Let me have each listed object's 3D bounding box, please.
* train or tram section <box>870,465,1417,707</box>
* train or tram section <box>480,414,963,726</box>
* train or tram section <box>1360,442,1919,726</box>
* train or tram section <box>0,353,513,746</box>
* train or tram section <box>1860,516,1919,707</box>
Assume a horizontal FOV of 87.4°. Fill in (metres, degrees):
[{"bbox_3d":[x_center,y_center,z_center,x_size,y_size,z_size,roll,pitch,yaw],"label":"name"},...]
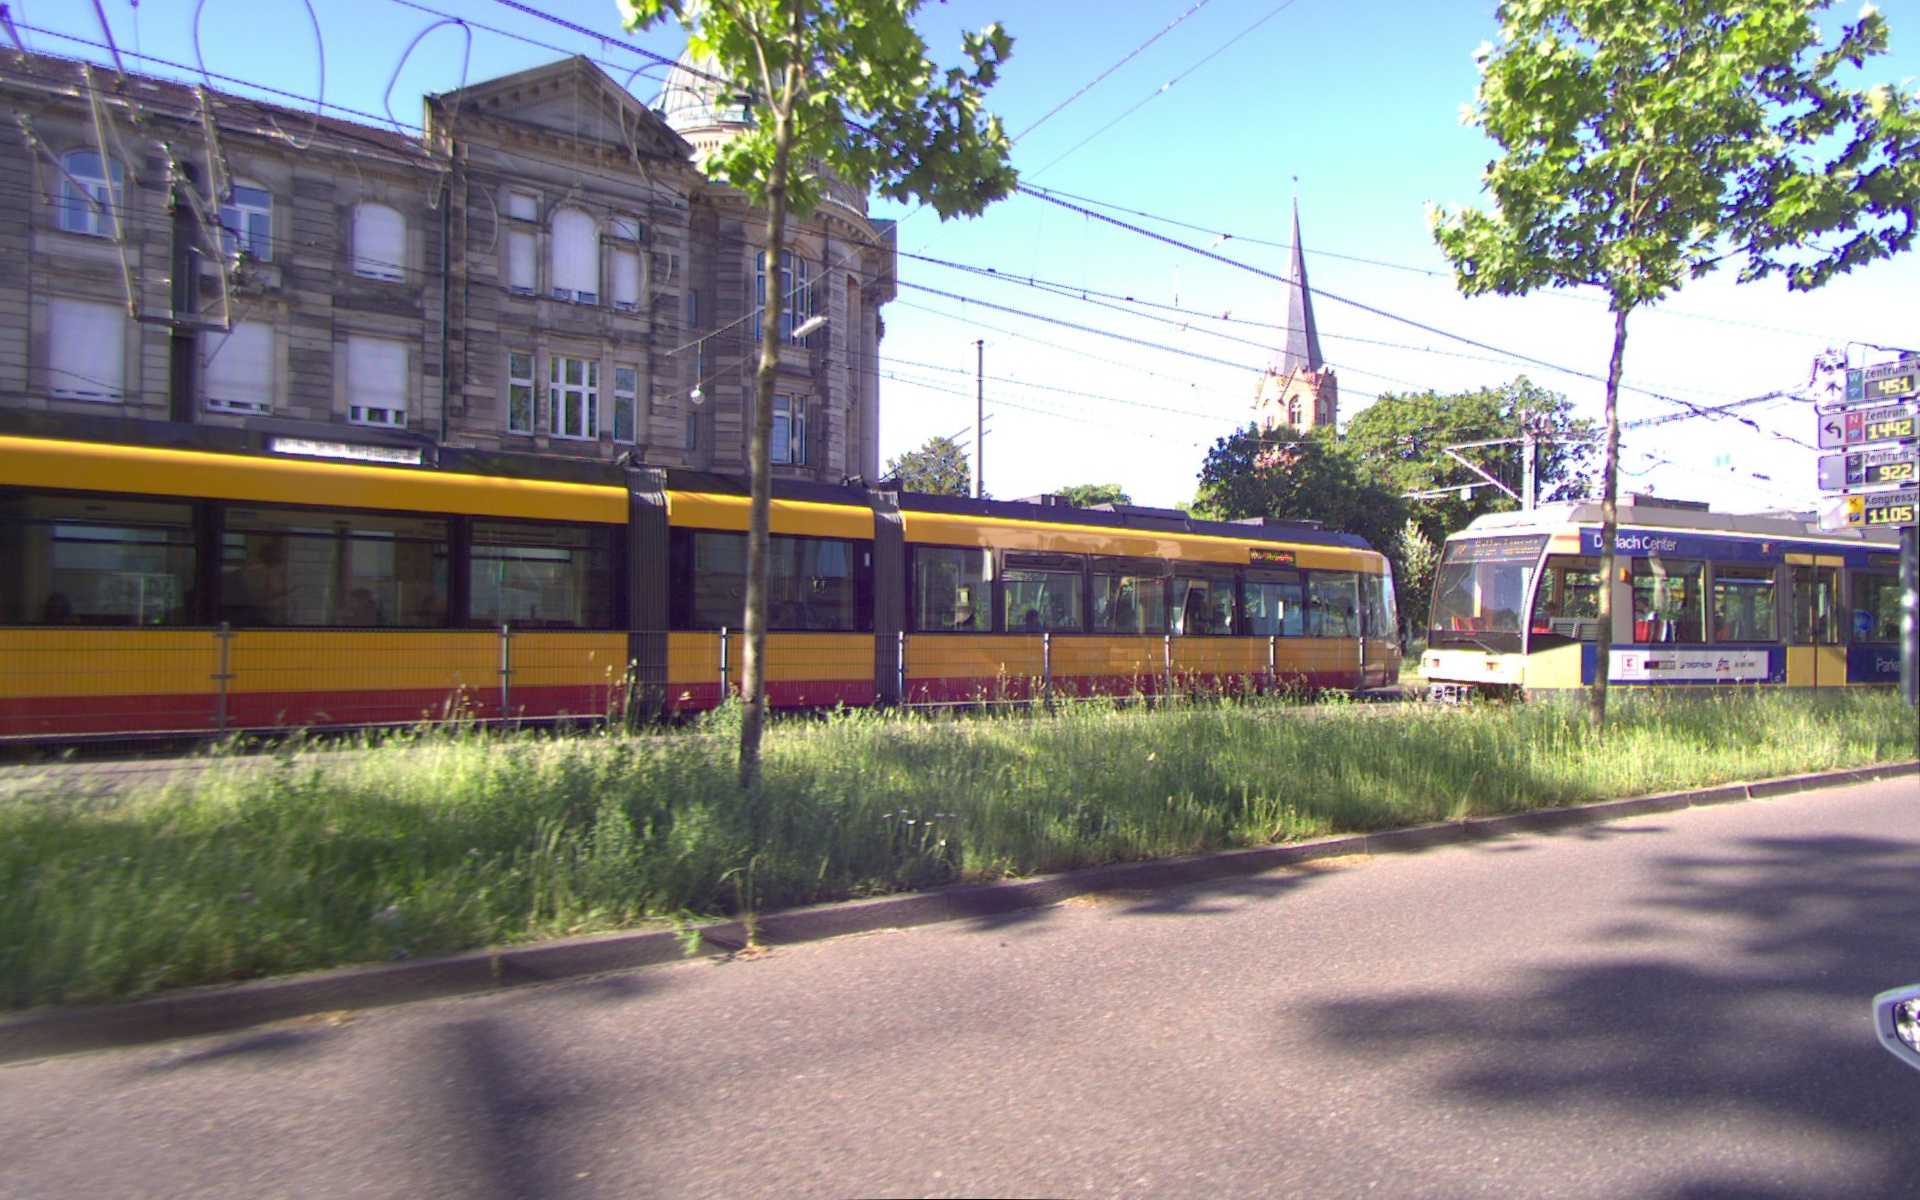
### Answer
[{"bbox_3d":[3.954,-0.075,18.953,11.165,3.530,2.944,2,0,-33],"label":"train or tram section"},{"bbox_3d":[-3.287,-0.269,14.248,5.995,3.530,2.939,2,0,-33],"label":"train or tram section"},{"bbox_3d":[13.626,0.012,17.657,14.065,3.863,2.923,2,0,-22],"label":"train or tram section"},{"bbox_3d":[-14.683,-0.622,6.922,20.985,3.530,2.947,2,0,-33],"label":"train or tram section"},{"bbox_3d":[21.849,0.303,21.188,3.814,3.949,2.946,2,0,-25],"label":"train or tram section"}]
